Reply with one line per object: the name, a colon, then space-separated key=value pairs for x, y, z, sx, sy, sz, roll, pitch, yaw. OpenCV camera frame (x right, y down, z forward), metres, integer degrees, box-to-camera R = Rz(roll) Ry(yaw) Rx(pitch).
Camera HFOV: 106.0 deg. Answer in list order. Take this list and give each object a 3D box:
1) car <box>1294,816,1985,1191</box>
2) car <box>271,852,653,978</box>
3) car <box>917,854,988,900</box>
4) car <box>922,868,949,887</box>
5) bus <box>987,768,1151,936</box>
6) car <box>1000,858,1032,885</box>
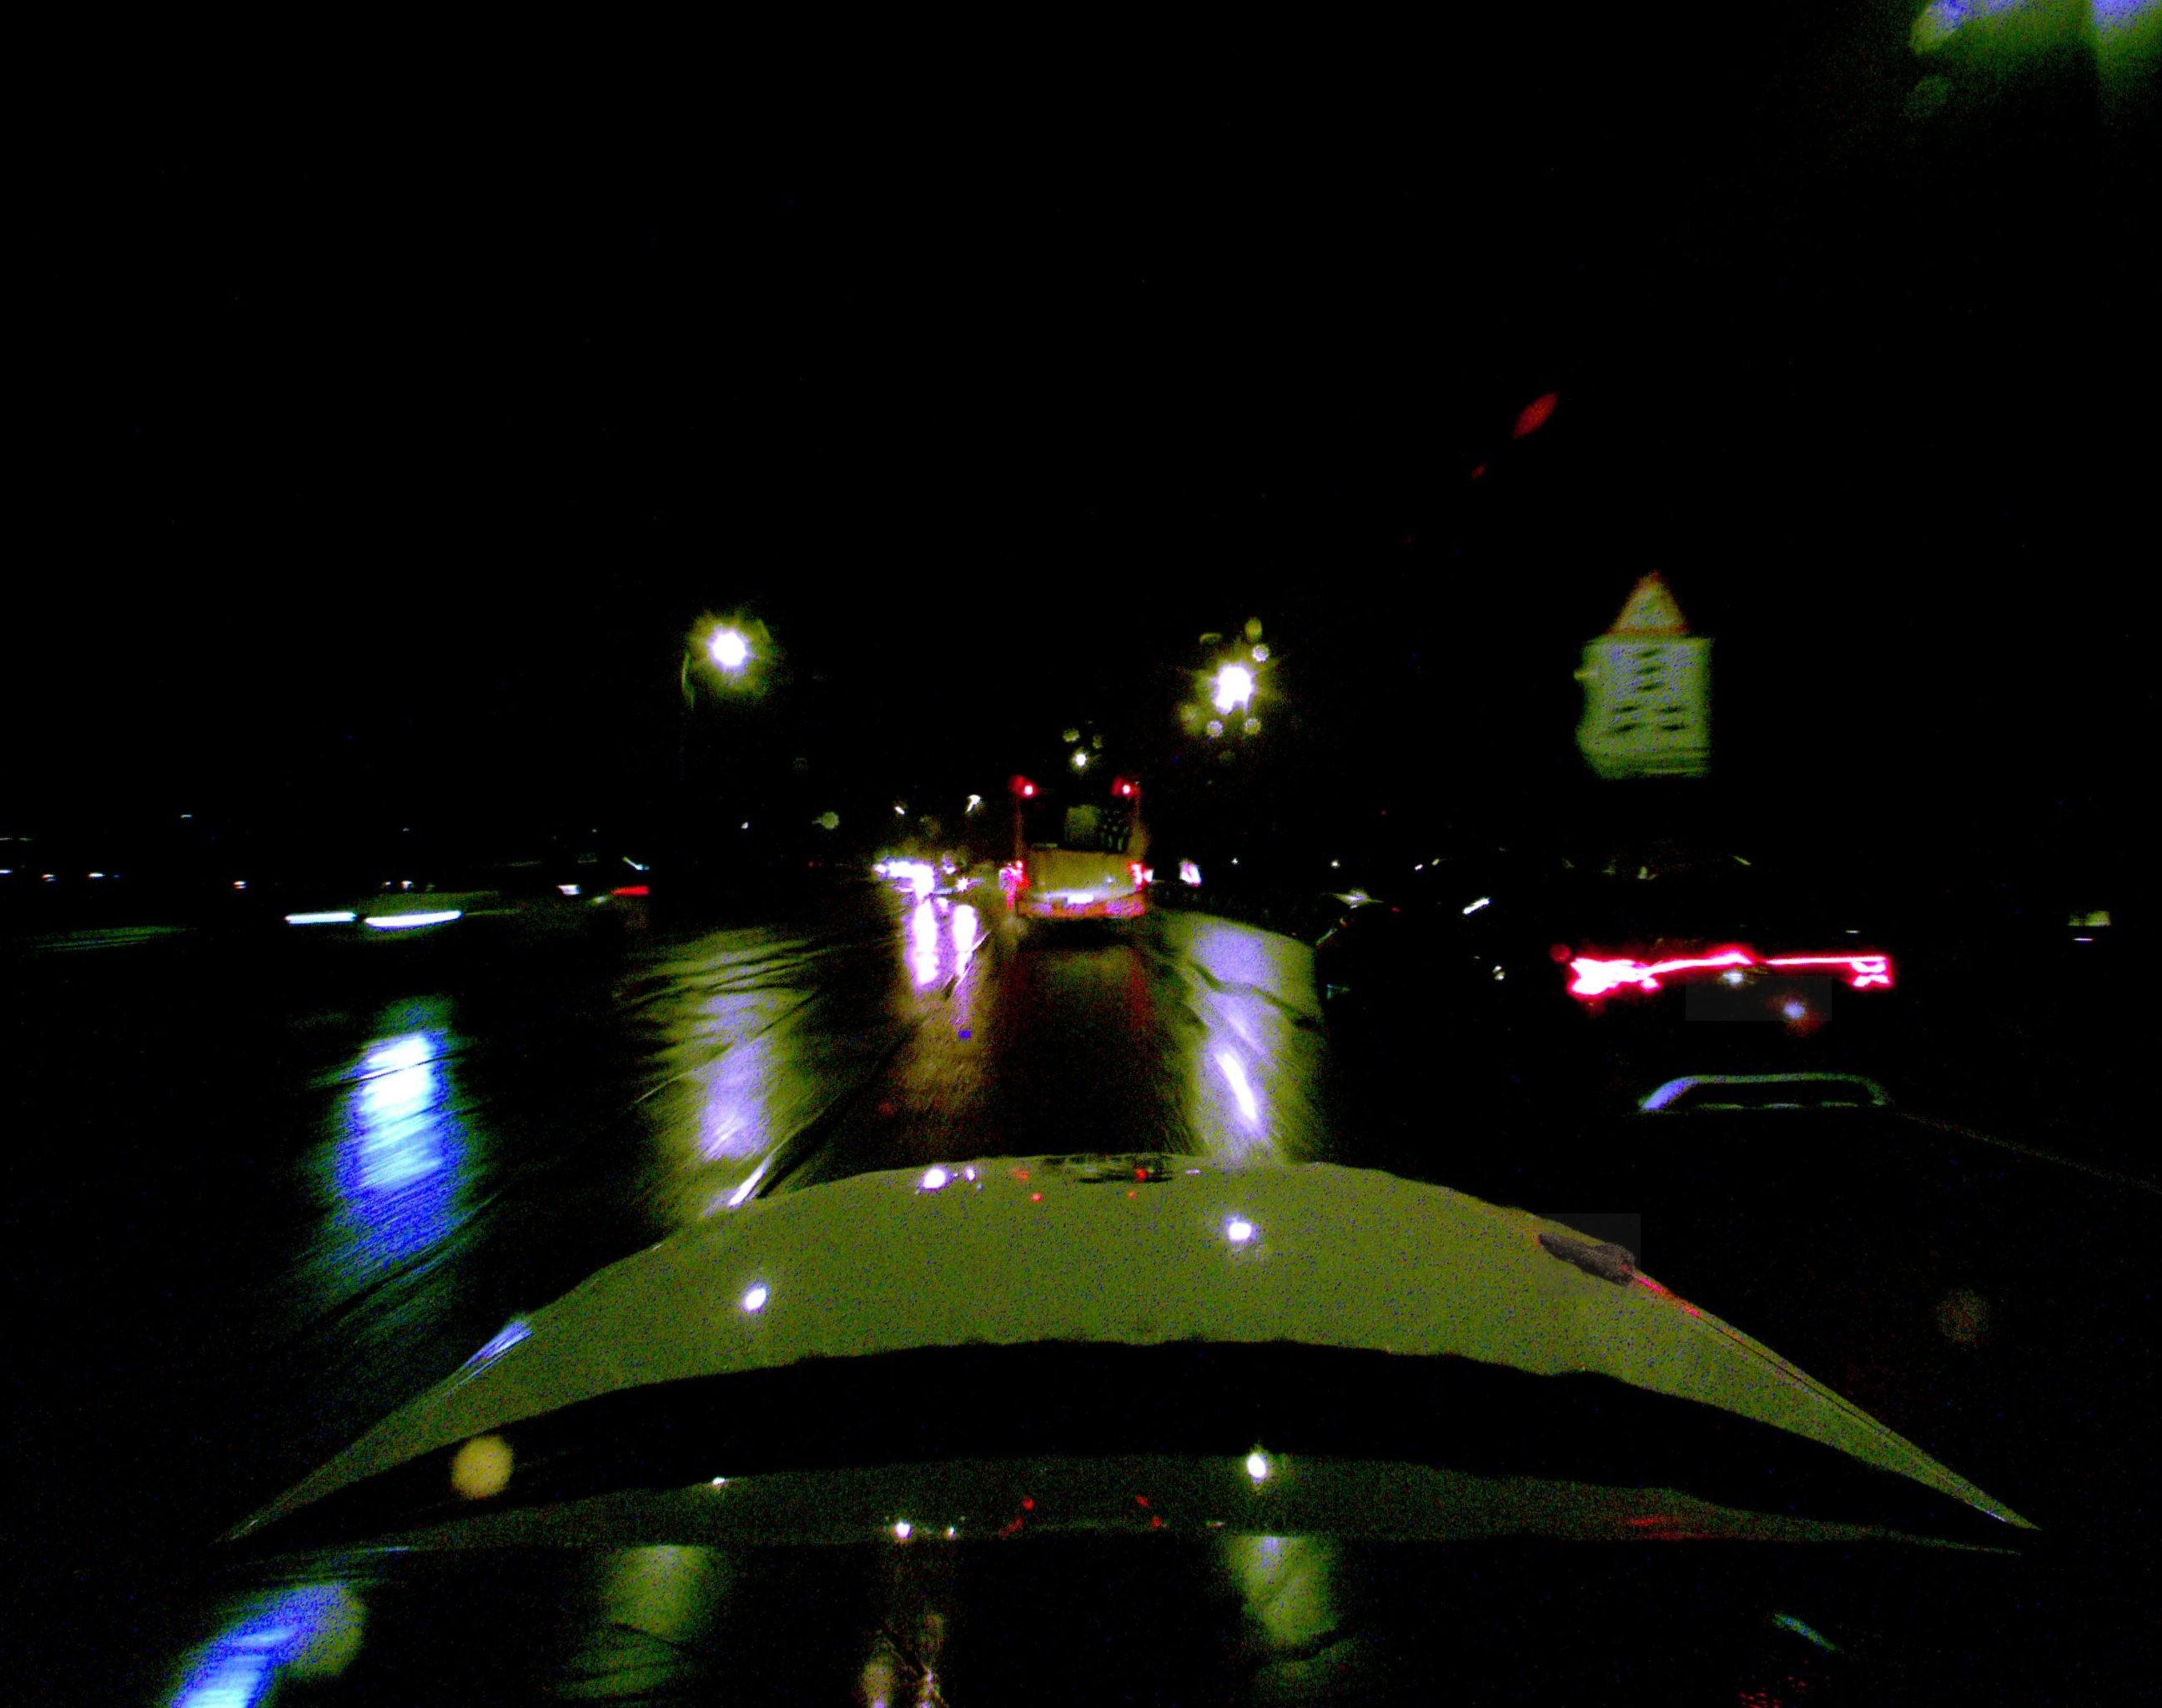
car: x=2.999 y=0.675 z=5.582 sx=1.851 sy=1.586 sz=3.995 roll=-1 pitch=-1 yaw=-3
car: x=-9.280 y=0.789 z=12.922 sx=1.975 sy=1.605 sz=4.843 roll=-1 pitch=0 yaw=7
car: x=-4.947 y=0.854 z=31.948 sx=1.992 sy=1.675 sz=4.616 roll=0 pitch=-1 yaw=0
car: x=-12.026 y=1.910 z=67.587 sx=1.763 sy=1.517 sz=3.943 roll=0 pitch=-1 yaw=-3
bus: x=-0.376 y=-0.023 z=21.552 sx=3.075 sy=3.133 sz=12.688 roll=0 pitch=0 yaw=-1
car: x=-4.992 y=1.322 z=62.117 sx=1.995 sy=2.014 sz=3.984 roll=1 pitch=-1 yaw=-12
